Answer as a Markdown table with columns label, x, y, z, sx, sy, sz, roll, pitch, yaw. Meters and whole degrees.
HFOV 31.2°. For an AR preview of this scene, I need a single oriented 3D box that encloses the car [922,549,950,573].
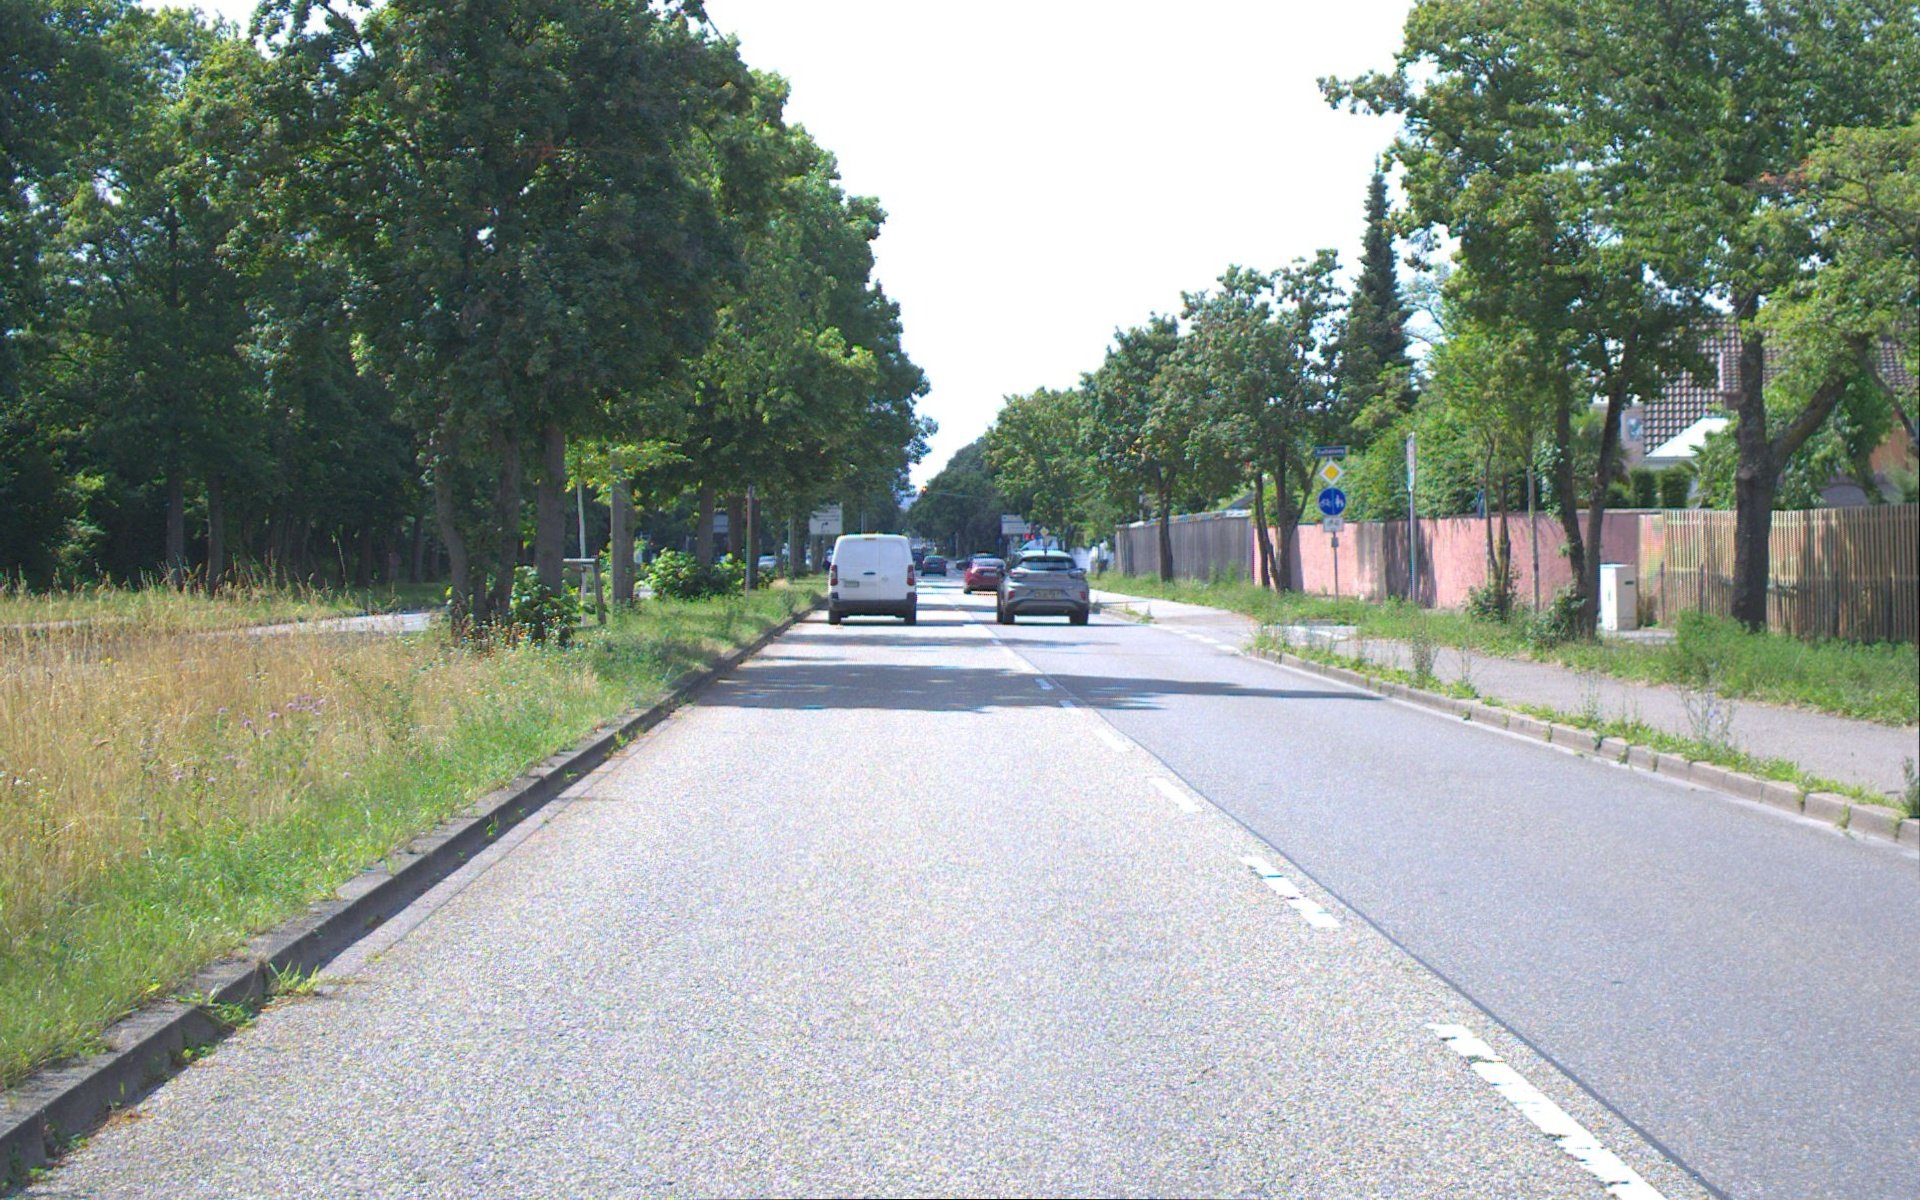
| label | x | y | z | sx | sy | sz | roll | pitch | yaw |
| --- | --- | --- | --- | --- | --- | --- | --- | --- | --- |
| car | -1.817 | -2.909 | 256.233 | 1.993 | 1.766 | 4.147 | 1 | 1 | -1 |

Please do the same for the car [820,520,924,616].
| label | x | y | z | sx | sy | sz | roll | pitch | yaw |
| --- | --- | --- | --- | --- | --- | --- | --- | --- | --- |
| car | -1.780 | -0.679 | 70.789 | 2.066 | 1.905 | 4.647 | 0 | 1 | -1 |

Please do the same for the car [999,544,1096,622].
| label | x | y | z | sx | sy | sz | roll | pitch | yaw |
| --- | --- | --- | --- | --- | --- | --- | --- | --- | --- |
| car | 1.799 | -0.376 | 71.905 | 1.875 | 1.583 | 4.185 | 0 | 1 | -1 |

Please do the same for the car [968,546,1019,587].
| label | x | y | z | sx | sy | sz | roll | pitch | yaw |
| --- | --- | --- | --- | --- | --- | --- | --- | --- | --- |
| car | 1.305 | -1.329 | 134.796 | 1.880 | 1.581 | 4.000 | 0 | 1 | -1 |
